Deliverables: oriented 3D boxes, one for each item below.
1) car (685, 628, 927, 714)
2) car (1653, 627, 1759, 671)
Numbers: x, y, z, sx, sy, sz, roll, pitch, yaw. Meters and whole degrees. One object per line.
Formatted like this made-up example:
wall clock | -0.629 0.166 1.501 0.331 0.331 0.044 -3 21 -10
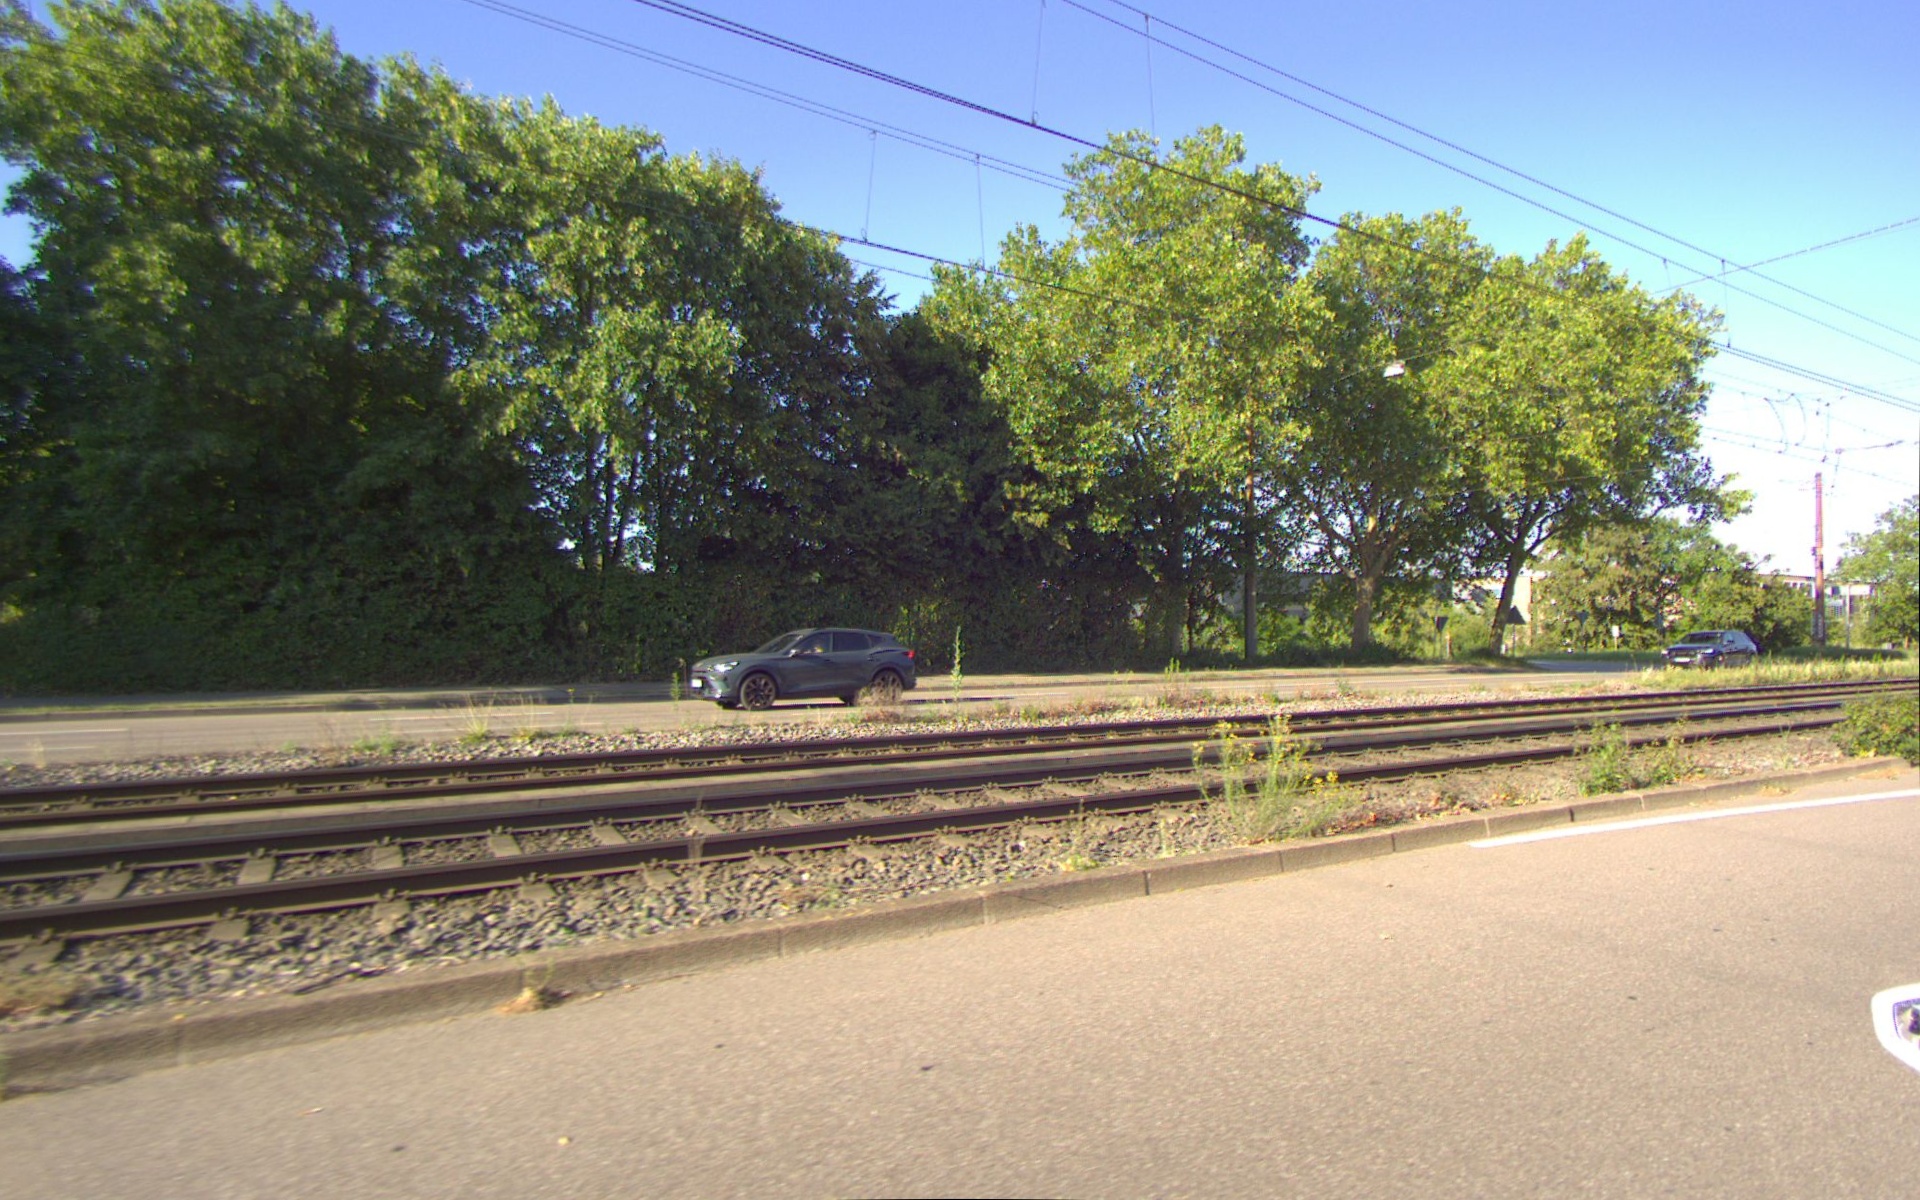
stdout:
car | -2.905 1.323 19.317 4.301 1.487 1.701 1 -4 -33
car | 30.591 2.015 41.159 4.888 1.716 1.888 2 -3 -33
